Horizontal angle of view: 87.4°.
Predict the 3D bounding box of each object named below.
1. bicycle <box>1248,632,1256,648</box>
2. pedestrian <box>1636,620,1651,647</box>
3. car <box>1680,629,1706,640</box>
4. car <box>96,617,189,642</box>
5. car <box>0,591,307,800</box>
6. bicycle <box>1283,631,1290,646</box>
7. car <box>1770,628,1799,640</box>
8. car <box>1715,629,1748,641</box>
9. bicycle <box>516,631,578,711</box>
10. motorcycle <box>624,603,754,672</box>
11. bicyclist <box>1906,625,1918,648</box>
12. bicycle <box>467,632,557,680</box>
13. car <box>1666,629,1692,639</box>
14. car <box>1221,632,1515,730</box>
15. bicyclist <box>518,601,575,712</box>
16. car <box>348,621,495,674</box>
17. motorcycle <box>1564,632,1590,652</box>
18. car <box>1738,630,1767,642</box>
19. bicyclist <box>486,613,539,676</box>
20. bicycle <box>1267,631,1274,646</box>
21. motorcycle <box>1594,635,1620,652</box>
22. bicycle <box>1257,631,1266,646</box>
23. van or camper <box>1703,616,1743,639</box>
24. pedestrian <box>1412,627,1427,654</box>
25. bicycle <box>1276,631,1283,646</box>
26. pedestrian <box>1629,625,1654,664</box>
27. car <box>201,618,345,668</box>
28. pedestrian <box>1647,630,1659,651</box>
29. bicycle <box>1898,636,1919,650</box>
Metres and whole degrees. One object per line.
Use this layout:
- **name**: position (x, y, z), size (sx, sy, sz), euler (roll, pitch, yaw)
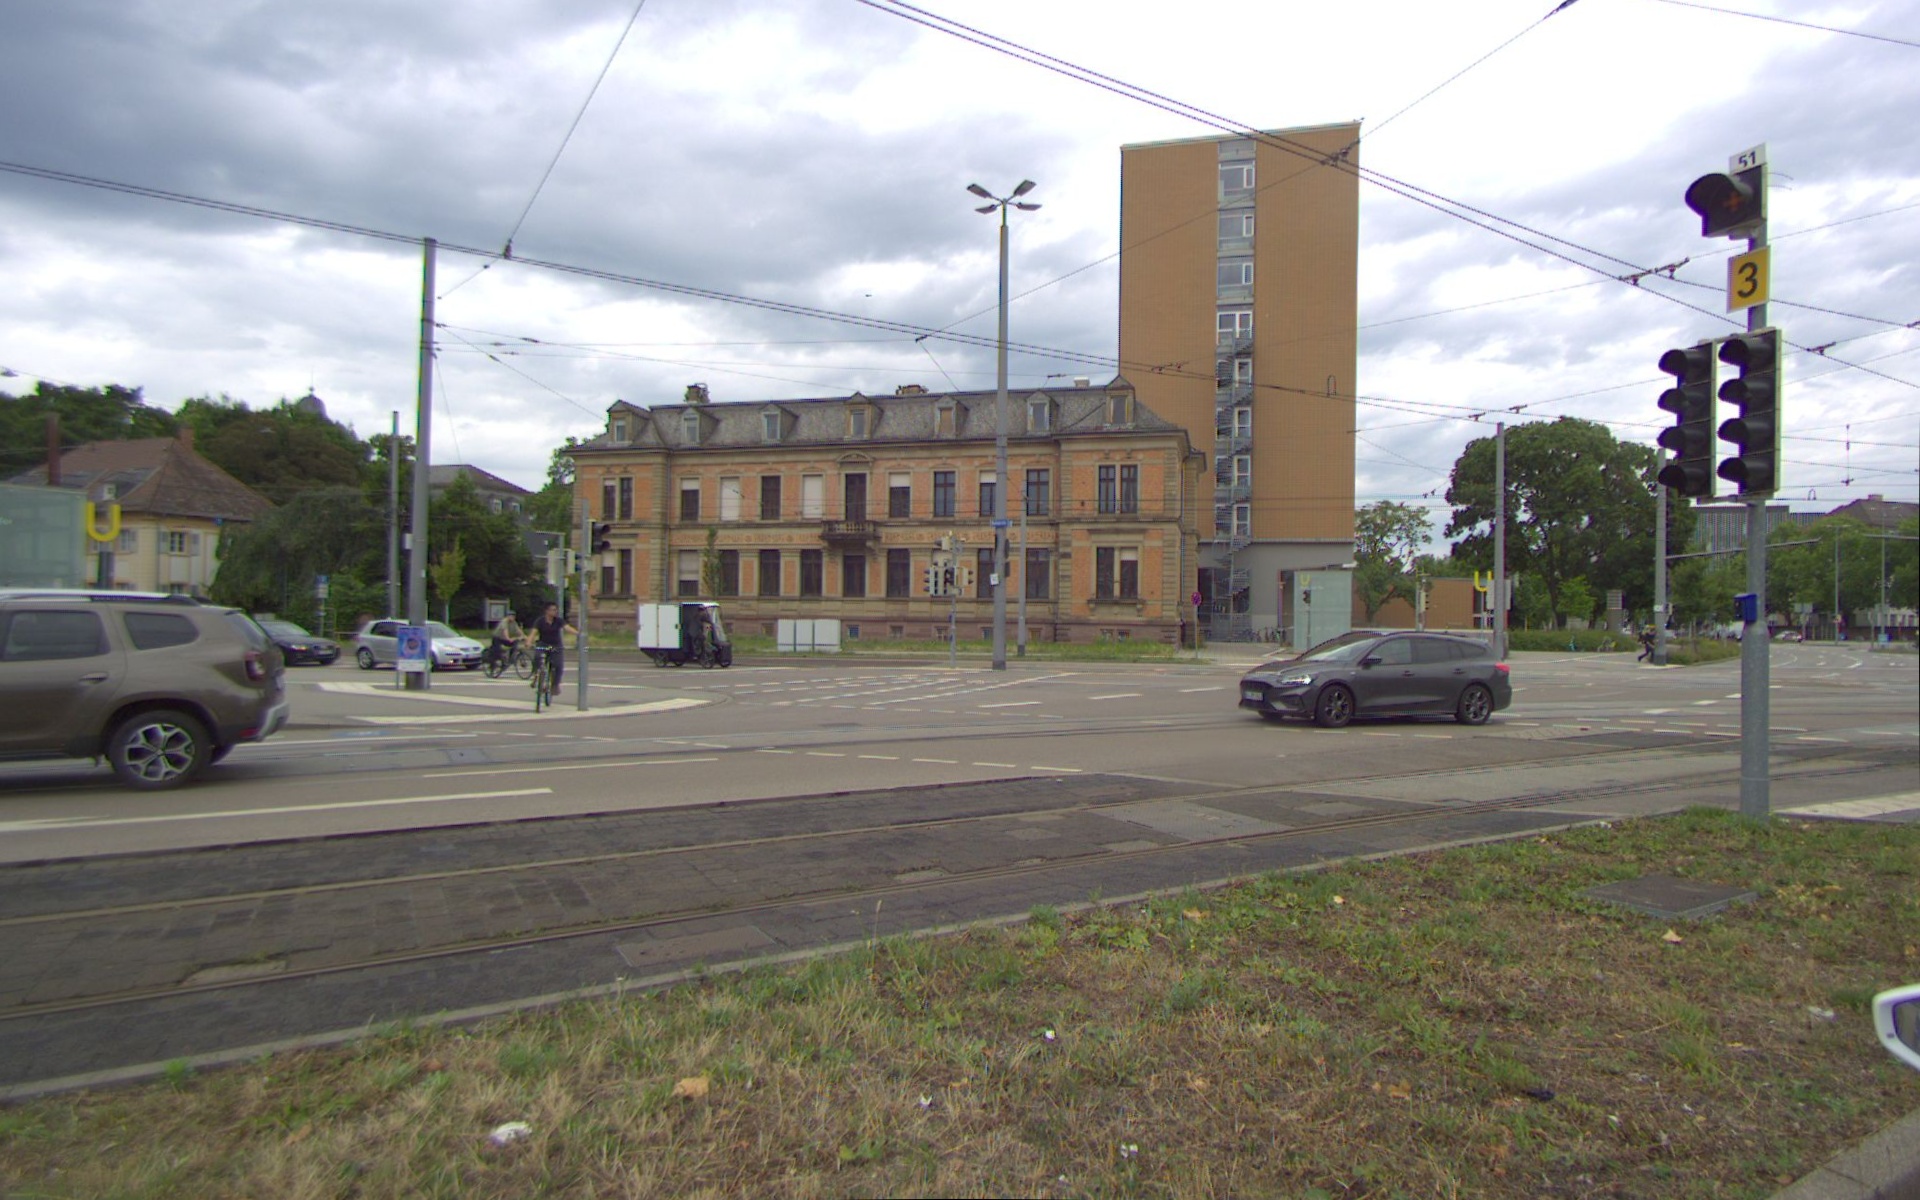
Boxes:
- **bicycle**: position (21.558, 2.942, 74.138), size (0.561, 1.120, 1.428), euler (1, -1, 18)
- **pedestrian**: position (51.808, 2.523, 76.179), size (0.781, 2.007, 0.880), euler (1, -2, 26)
- **car**: position (109.929, 5.107, 150.625), size (1.746, 1.483, 4.002), euler (1, 0, 15)
- **car**: position (-45.029, 1.596, 55.359), size (3.919, 1.305, 1.936), euler (1, -1, 12)
- **car**: position (-8.218, 0.759, 8.655), size (4.179, 1.661, 1.789), euler (2, -1, -30)
- **bicycle**: position (23.895, 2.804, 73.490), size (0.472, 1.063, 1.428), euler (1, -1, 18)
- **car**: position (107.760, 4.421, 131.323), size (1.747, 1.483, 3.999), euler (1, 0, 22)
- **car**: position (94.860, 4.295, 123.604), size (1.746, 1.483, 4.002), euler (1, -1, 14)
- **bicycle**: position (-7.049, 1.169, 17.094), size (0.805, 1.259, 1.986), euler (0, -2, -27)
- **motorcycle**: position (-8.503, 1.136, 31.573), size (3.614, 2.040, 1.696), euler (1, -1, 19)
- **bicyclist**: position (85.748, 3.254, 90.502), size (0.578, 2.040, 0.514), euler (1, -2, 13)
- **bicycle**: position (-11.862, 1.466, 26.604), size (2.154, 1.224, 0.857), euler (0, -2, 20)
- **car**: position (113.896, 5.323, 159.144), size (1.745, 1.483, 4.002), euler (1, 0, 11)
- **car**: position (6.589, 1.260, 16.310), size (4.320, 1.414, 1.693), euler (1, -1, -16)
- **bicyclist**: position (-7.080, 0.938, 17.164), size (0.805, 1.822, 1.022), euler (0, 0, -28)
- **car**: position (-16.217, 1.382, 30.255), size (4.081, 1.473, 1.761), euler (0, -1, 23)
- **motorcycle**: position (41.585, 2.823, 67.719), size (1.443, 1.285, 0.512), euler (1, -1, 14)
- **car**: position (110.856, 4.986, 140.538), size (1.745, 1.483, 4.002), euler (1, 0, 13)
- **bicyclist**: position (-11.851, 1.167, 26.611), size (0.899, 1.644, 0.855), euler (0, -1, 20)
- **bicycle**: position (22.826, 2.828, 73.773), size (0.500, 1.063, 1.428), euler (1, -1, 18)
- **motorcycle**: position (43.689, 2.965, 67.845), size (1.716, 1.126, 0.510), euler (1, -1, -17)
- **bicycle**: position (22.202, 2.819, 73.972), size (0.561, 1.120, 1.428), euler (1, -1, 18)
- **van or camper**: position (108.259, 3.878, 142.521), size (2.347, 3.165, 5.507), euler (1, -1, 12)
- **pedestrian**: position (23.096, 2.032, 50.450), size (0.562, 1.353, 0.499), euler (1, -1, 10)
- **bicycle**: position (23.400, 2.813, 73.649), size (0.472, 1.063, 1.428), euler (1, -1, 18)
- **pedestrian**: position (36.362, 2.367, 53.584), size (1.009, 2.040, 0.842), euler (0, -1, 41)
- **car**: position (-22.038, 1.353, 32.234), size (4.061, 1.468, 1.697), euler (1, -1, 18)
- **pedestrian**: position (65.503, 3.831, 94.945), size (0.868, 2.007, 0.792), euler (0, -2, 42)
- **bicycle**: position (85.690, 3.863, 90.502), size (1.791, 1.252, 0.435), euler (1, -2, 14)
